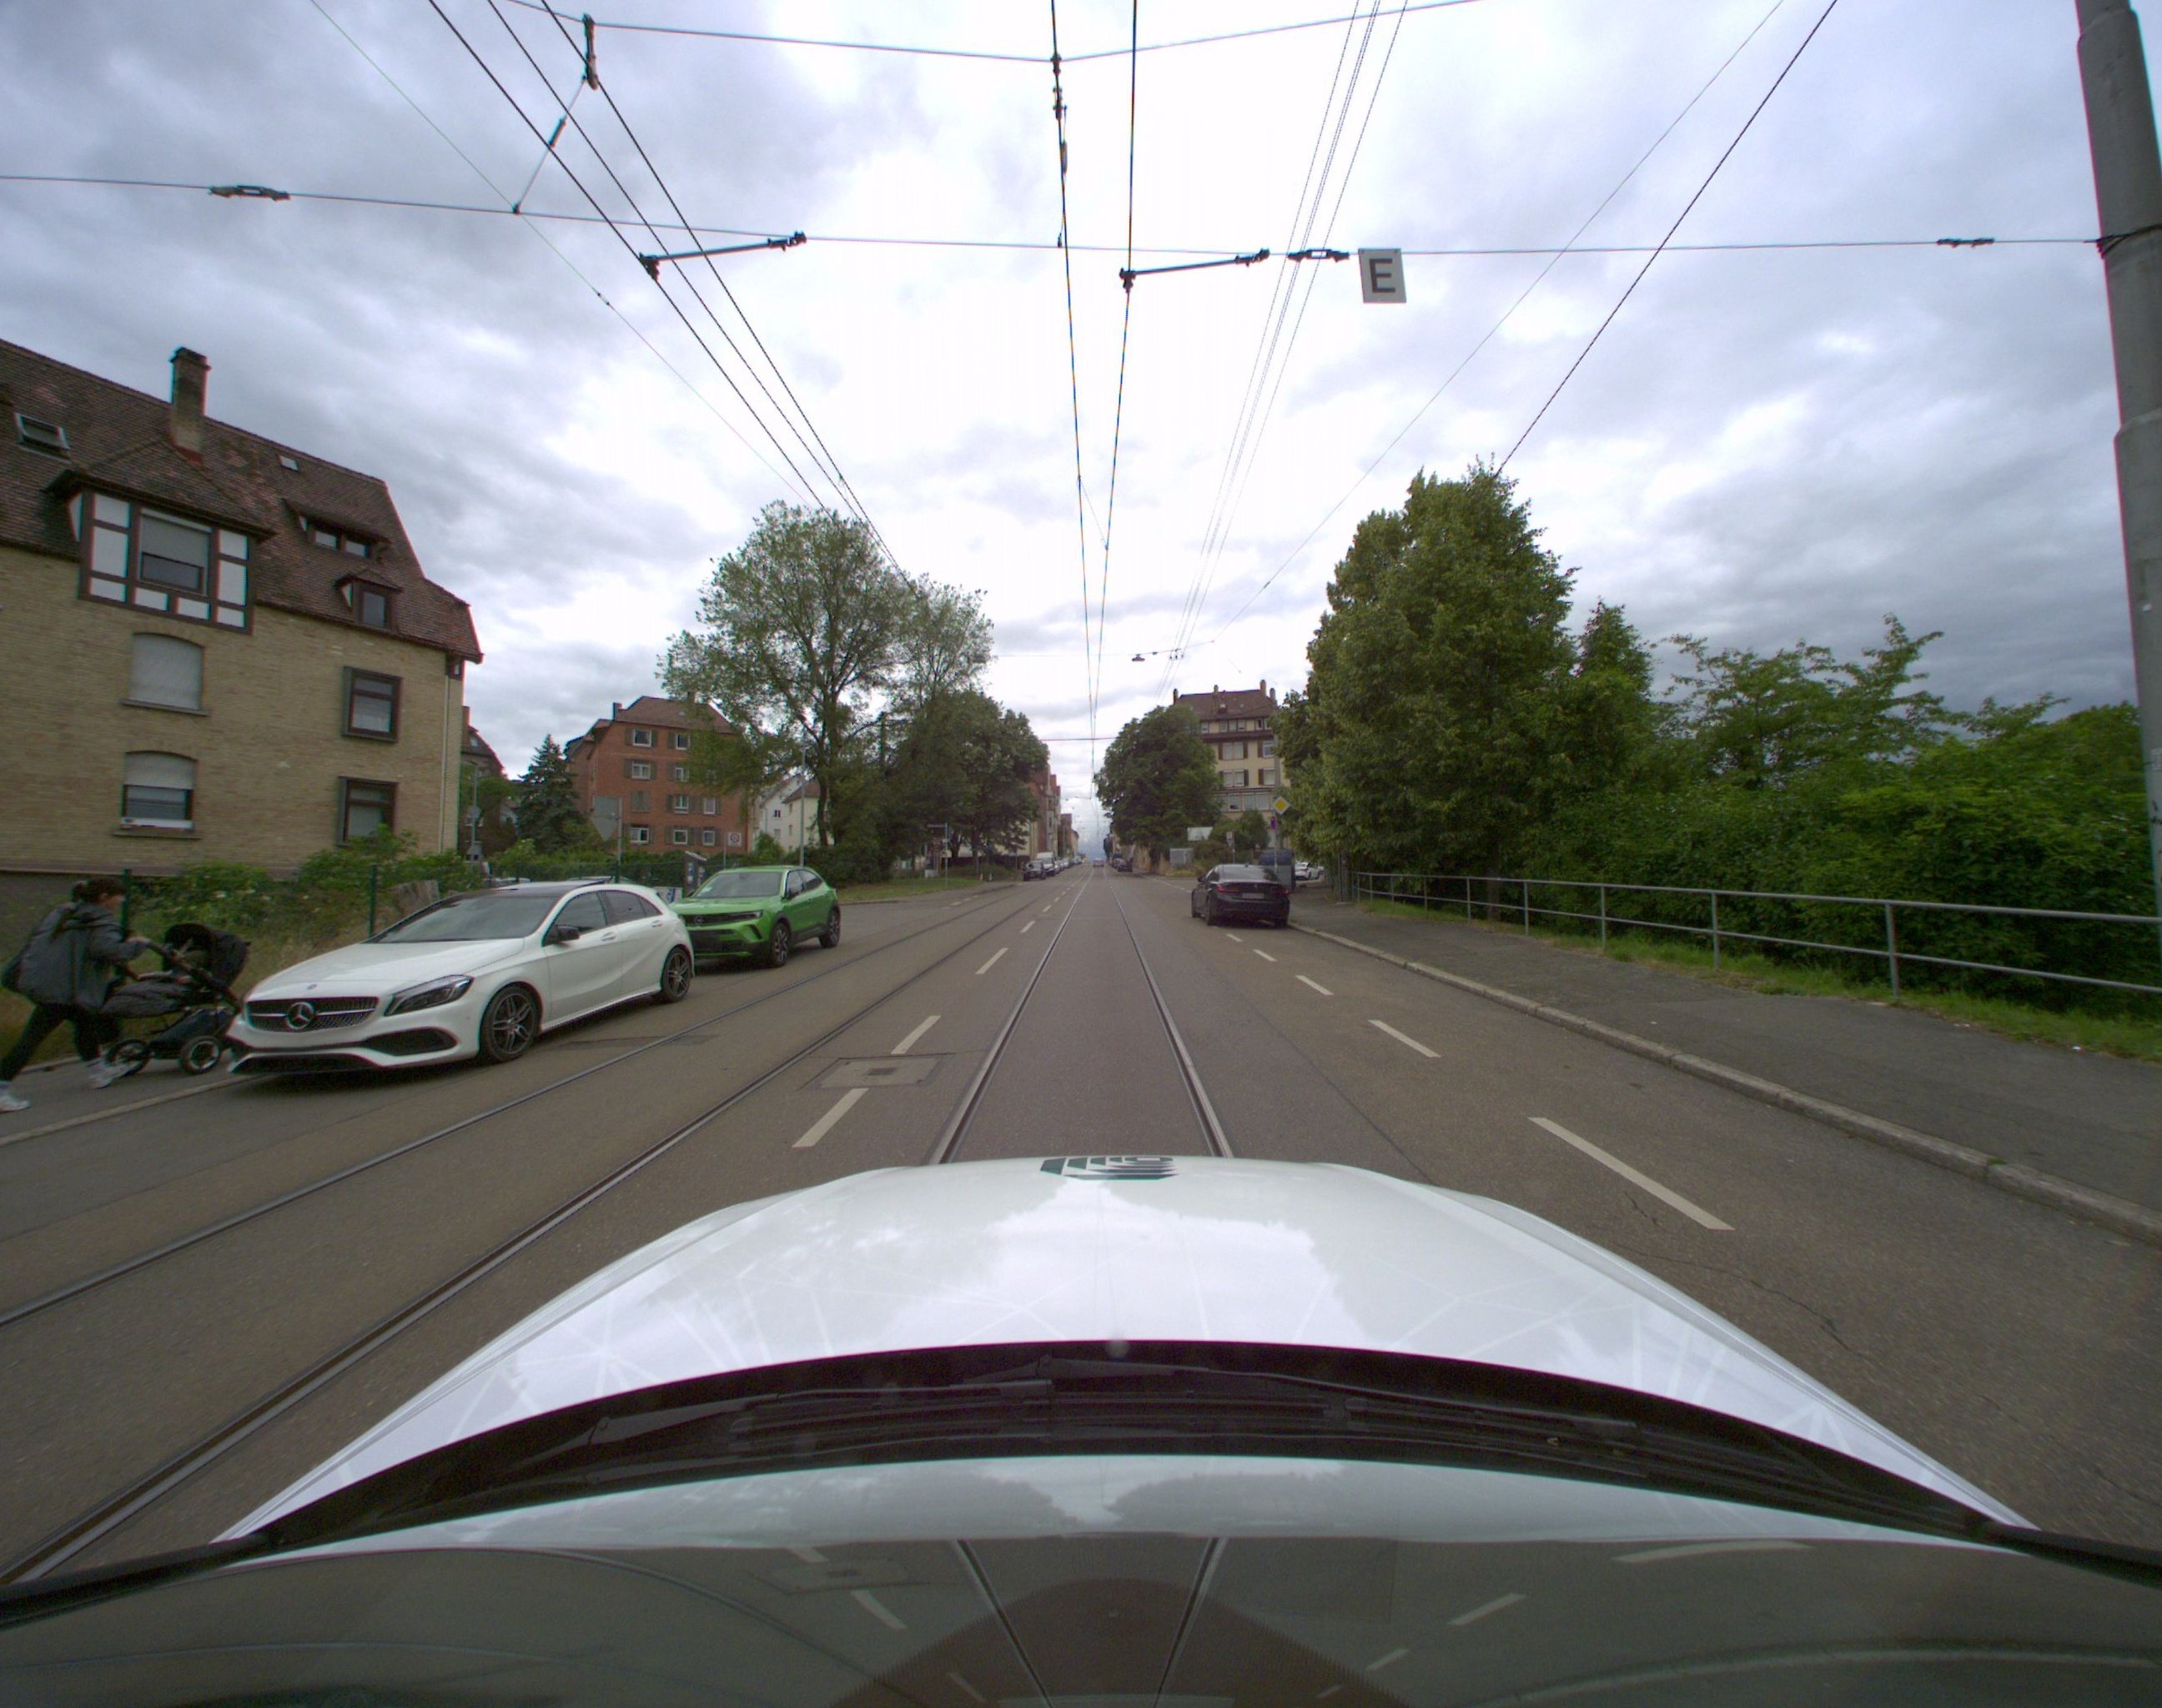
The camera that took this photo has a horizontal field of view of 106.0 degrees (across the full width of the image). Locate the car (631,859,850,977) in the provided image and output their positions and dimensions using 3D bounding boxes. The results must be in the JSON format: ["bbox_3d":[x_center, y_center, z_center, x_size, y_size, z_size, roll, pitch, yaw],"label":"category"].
[{"bbox_3d":[-5.336,0.906,13.443,1.717,1.580,4.182,-2,0,1],"label":"car"}]

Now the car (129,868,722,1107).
[{"bbox_3d":[-5.520,0.953,7.905,1.878,1.526,4.664,-2,-1,1],"label":"car"}]

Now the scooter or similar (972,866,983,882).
[{"bbox_3d":[-8.829,1.698,69.456,0.688,1.339,1.639,0,-1,2],"label":"scooter or similar"}]

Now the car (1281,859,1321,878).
[{"bbox_3d":[17.366,1.158,64.076,1.974,1.479,4.491,-1,-1,30],"label":"car"}]

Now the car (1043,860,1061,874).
[{"bbox_3d":[-3.494,1.593,98.967,1.988,1.600,4.310,0,-1,-1],"label":"car"}]

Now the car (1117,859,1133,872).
[{"bbox_3d":[5.557,1.467,103.103,1.986,1.530,4.314,0,-1,2],"label":"car"}]

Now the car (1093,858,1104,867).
[{"bbox_3d":[3.038,1.429,142.676,1.986,1.498,4.312,0,-1,1],"label":"car"}]

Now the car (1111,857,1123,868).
[{"bbox_3d":[5.996,1.442,136.270,1.986,1.651,4.001,-1,-1,2],"label":"car"}]

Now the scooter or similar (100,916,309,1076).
[{"bbox_3d":[-7.277,1.147,6.815,0.802,1.196,0.839,0,-1,-1],"label":"scooter or similar"}]

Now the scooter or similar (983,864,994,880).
[{"bbox_3d":[-7.883,1.539,69.346,0.688,1.339,1.639,0,-1,2],"label":"scooter or similar"}]

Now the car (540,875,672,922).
[{"bbox_3d":[-15.575,1.414,26.684,3.950,1.418,1.902,-1,-1,27],"label":"car"}]

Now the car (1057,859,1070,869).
[{"bbox_3d":[-2.849,1.581,132.491,1.917,1.601,4.001,0,-1,1],"label":"car"}]

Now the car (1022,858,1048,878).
[{"bbox_3d":[-4.130,1.284,74.164,1.985,1.808,4.002,0,-1,2],"label":"car"}]

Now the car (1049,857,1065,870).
[{"bbox_3d":[-3.376,1.320,115.667,1.985,1.812,4.314,0,-1,2],"label":"car"}]

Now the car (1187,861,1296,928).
[{"bbox_3d":[3.808,0.913,20.163,1.821,1.430,4.848,1,-1,1],"label":"car"}]

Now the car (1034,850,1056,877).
[{"bbox_3d":[-3.888,1.059,88.661,2.224,2.764,5.796,0,-1,-1],"label":"car"}]

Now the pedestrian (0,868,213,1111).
[{"bbox_3d":[-7.258,0.923,5.952,0.802,1.629,0.916,0,-1,0],"label":"pedestrian"}]

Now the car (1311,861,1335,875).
[{"bbox_3d":[28.519,1.604,95.862,1.975,1.618,4.023,-1,-1,26],"label":"car"}]

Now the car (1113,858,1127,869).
[{"bbox_3d":[5.892,1.464,124.446,1.986,1.717,4.001,-1,-1,2],"label":"car"}]

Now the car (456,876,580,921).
[{"bbox_3d":[-20.216,1.551,29.263,3.950,1.495,2.012,-1,-1,27],"label":"car"}]

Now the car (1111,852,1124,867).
[{"bbox_3d":[6.331,1.027,141.779,1.986,2.574,4.706,-1,-1,2],"label":"car"}]

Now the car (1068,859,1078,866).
[{"bbox_3d":[-1.614,1.793,172.014,1.986,1.601,4.000,0,-1,1],"label":"car"}]
